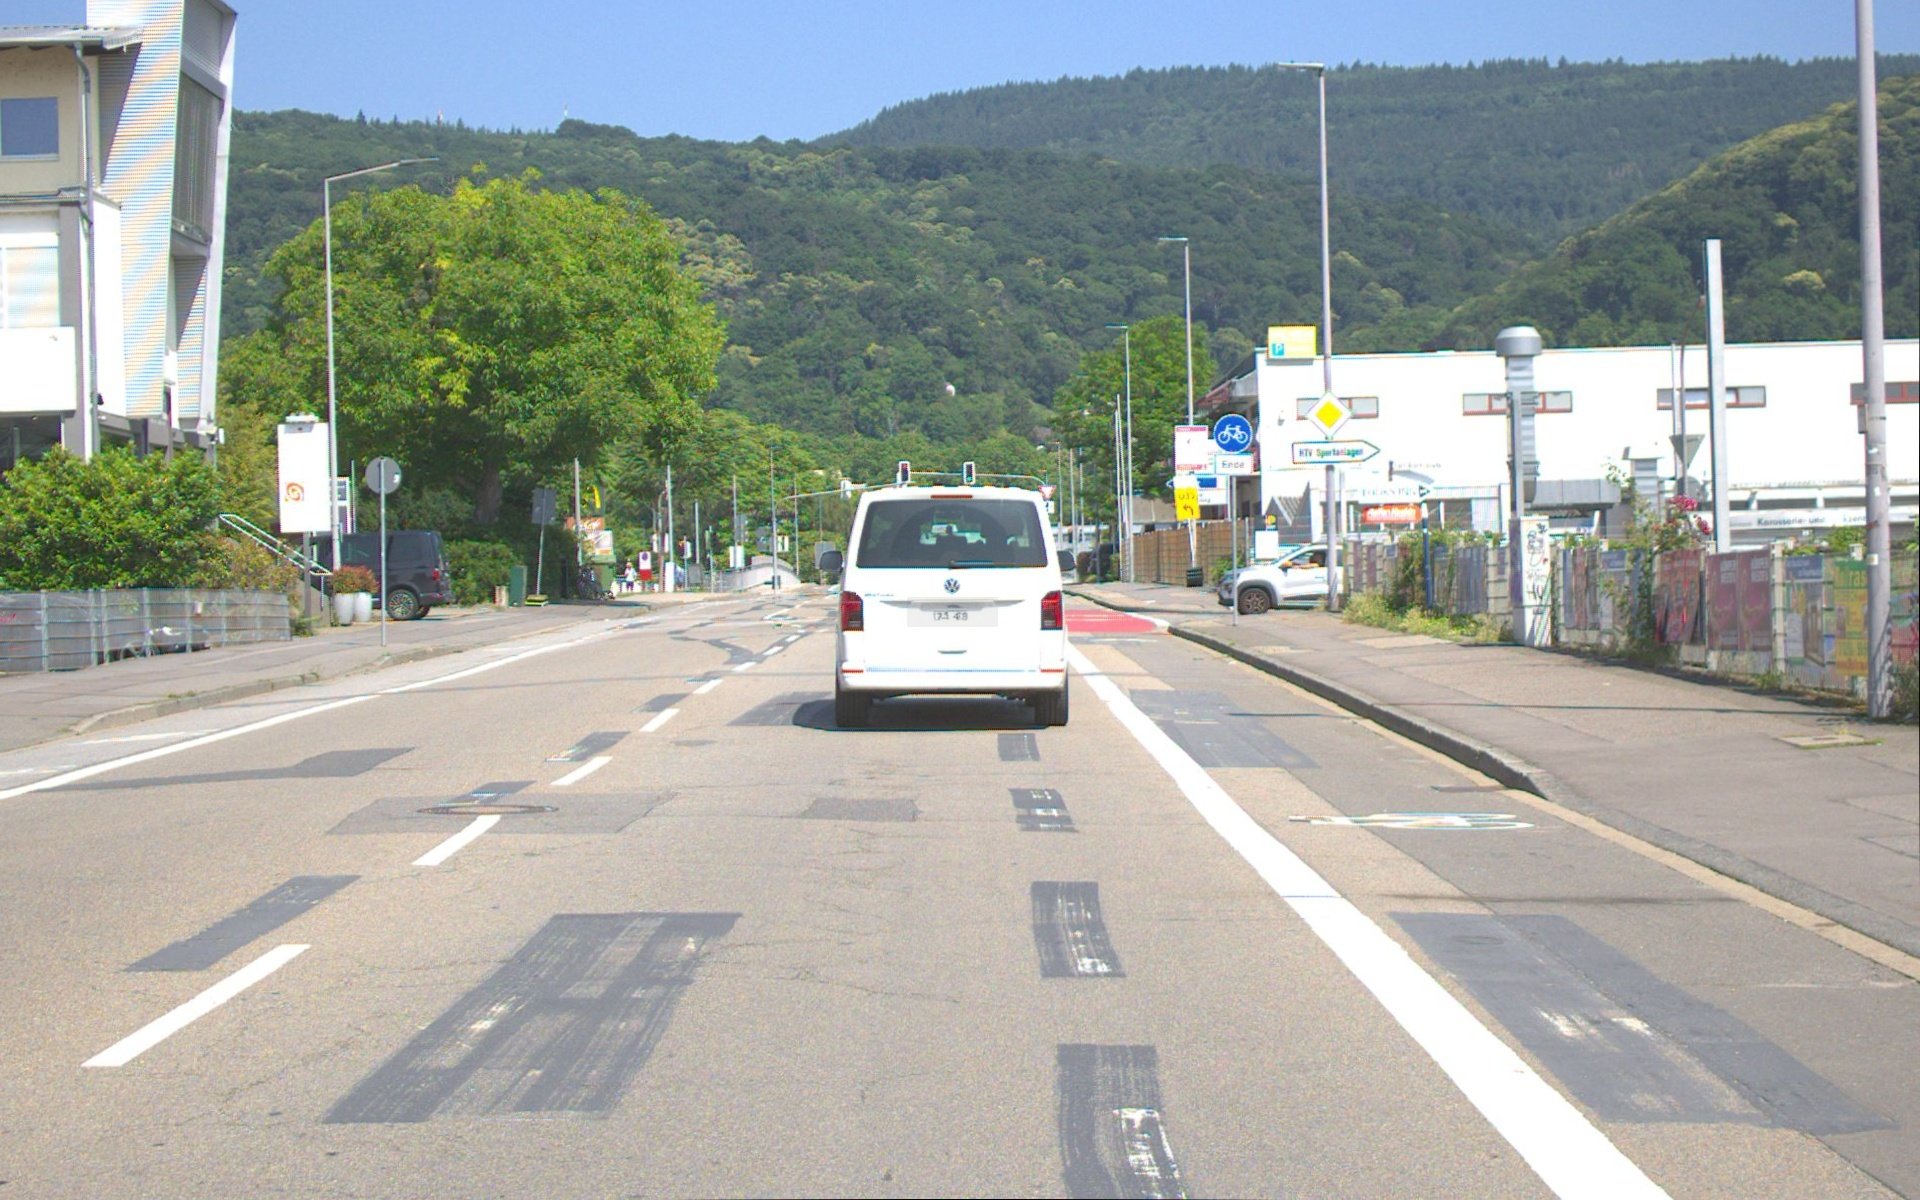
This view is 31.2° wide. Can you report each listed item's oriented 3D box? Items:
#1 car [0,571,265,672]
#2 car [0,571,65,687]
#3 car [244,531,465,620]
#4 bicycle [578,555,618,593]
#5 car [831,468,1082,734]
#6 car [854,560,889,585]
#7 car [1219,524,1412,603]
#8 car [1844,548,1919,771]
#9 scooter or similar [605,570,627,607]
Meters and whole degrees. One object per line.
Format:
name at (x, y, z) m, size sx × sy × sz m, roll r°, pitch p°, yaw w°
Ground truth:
car at (-13.787, 0.345, 55.428) m, size 4.739 × 1.476 × 2.048 m, roll -2°, pitch 1°, yaw -1°
car at (-14.738, 0.447, 47.393) m, size 4.295 × 1.553 × 1.996 m, roll -2°, pitch 1°, yaw -4°
car at (-13.203, -0.553, 75.211) m, size 4.565 × 1.859 × 2.093 m, roll -1°, pitch 1°, yaw -5°
bicycle at (-10.859, -0.780, 103.241) m, size 1.026 × 1.114 × 2.766 m, roll 1°, pitch 0°, yaw -3°
car at (-0.094, -0.015, 29.265) m, size 1.934 × 2.052 × 4.545 m, roll 1°, pitch 1°, yaw -2°
car at (-5.130, -1.620, 199.744) m, size 1.993 × 1.365 × 4.327 m, roll -2°, pitch 1°, yaw -1°
car at (6.965, -0.721, 67.592) m, size 3.665 × 1.479 × 1.728 m, roll -1°, pitch 1°, yaw 2°
car at (9.094, 0.490, 24.460) m, size 5.043 × 1.616 × 2.018 m, roll 0°, pitch -4°, yaw 43°
scooter or similar at (-10.700, -0.360, 106.890) m, size 0.646 × 1.124 × 1.623 m, roll 1°, pitch 0°, yaw -6°
